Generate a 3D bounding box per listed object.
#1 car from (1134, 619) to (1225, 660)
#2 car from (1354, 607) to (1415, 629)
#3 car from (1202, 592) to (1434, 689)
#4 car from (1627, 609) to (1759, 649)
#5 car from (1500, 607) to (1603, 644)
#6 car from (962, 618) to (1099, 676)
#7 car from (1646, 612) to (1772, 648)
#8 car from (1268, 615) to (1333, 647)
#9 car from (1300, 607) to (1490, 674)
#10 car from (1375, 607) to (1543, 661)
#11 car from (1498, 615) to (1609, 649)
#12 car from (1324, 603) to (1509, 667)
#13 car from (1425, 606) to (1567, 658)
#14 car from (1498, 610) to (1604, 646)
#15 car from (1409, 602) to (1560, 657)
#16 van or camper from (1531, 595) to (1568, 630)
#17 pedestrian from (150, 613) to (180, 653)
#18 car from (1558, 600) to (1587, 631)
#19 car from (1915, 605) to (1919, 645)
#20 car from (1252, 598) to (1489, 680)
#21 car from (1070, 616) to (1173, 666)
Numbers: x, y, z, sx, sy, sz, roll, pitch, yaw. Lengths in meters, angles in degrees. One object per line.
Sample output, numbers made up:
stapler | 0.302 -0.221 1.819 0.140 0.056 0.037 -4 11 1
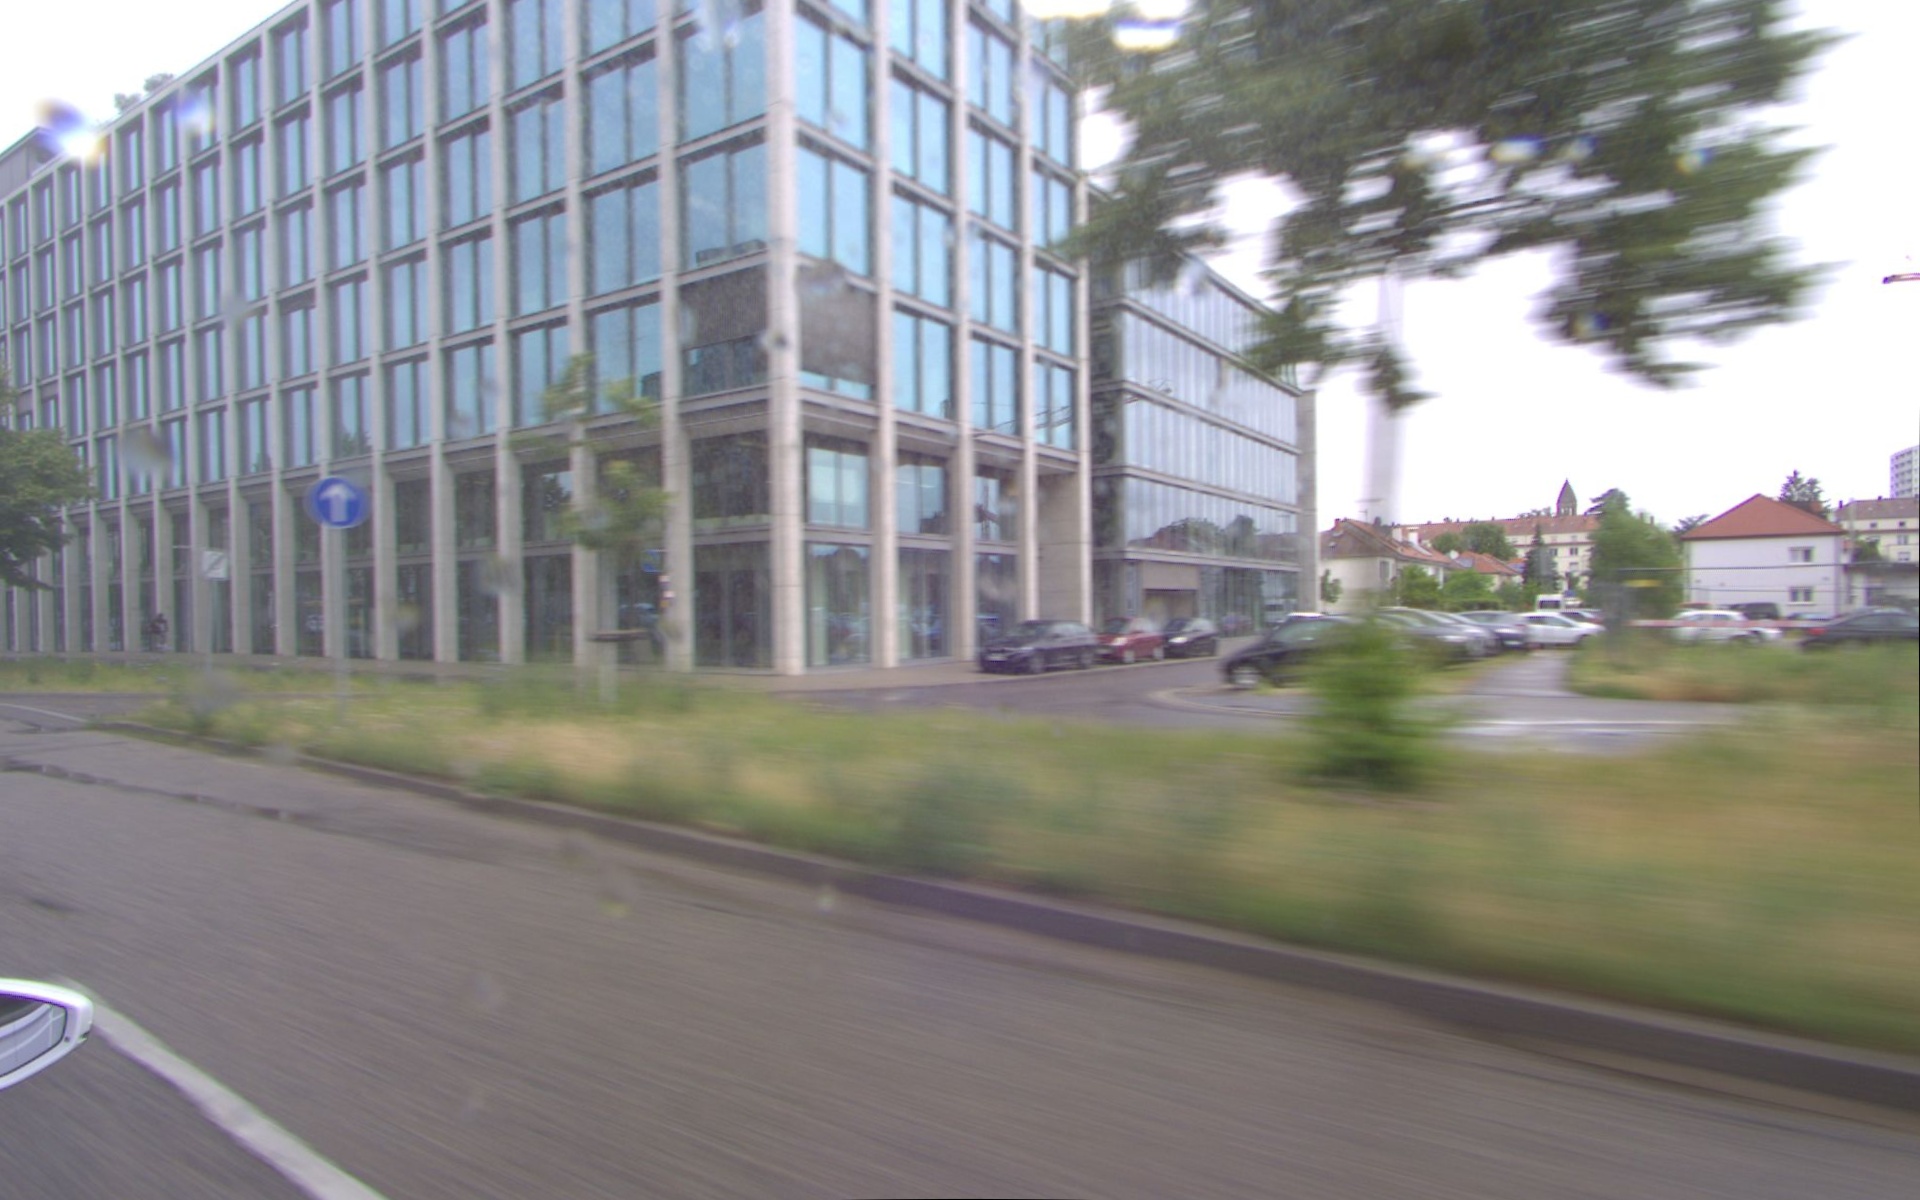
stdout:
car | 8.230 1.431 37.264 1.837 1.390 3.974 1 0 37
car | 31.468 1.338 74.236 3.942 1.603 1.852 -1 -1 32
car | 7.186 0.874 20.292 3.956 1.599 1.848 -7 -5 39
car | 28.122 1.100 38.575 3.975 1.464 1.692 -1 -1 33
car | 27.003 1.149 45.866 3.971 1.622 1.853 -1 -1 30
car | 2.104 1.288 28.703 1.955 1.457 4.204 2 0 37
car | 29.882 1.191 40.105 3.978 1.370 1.691 -1 -1 35
car | 16.379 1.459 48.115 1.837 1.457 3.974 1 0 37
car | 10.750 1.025 24.850 3.951 1.473 1.848 -4 -3 37
car | 14.542 0.965 29.286 4.176 1.494 1.779 -1 -1 37
car | 24.992 1.317 42.278 3.973 1.370 1.693 -1 -1 31
car | 12.496 0.932 27.554 4.359 1.622 1.848 -1 -1 37
car | 17.775 1.050 33.257 3.949 1.622 1.848 -1 -1 37
car | 26.022 1.212 44.235 3.971 1.516 1.853 -1 -1 30
car | 16.427 0.906 31.423 3.949 1.622 1.848 -1 -1 37
van or camper | 45.734 0.970 77.613 2.065 2.618 5.598 -1 -1 35
pedestrian | -34.935 1.450 44.013 0.848 1.738 0.715 0 2 31
car | 57.727 1.485 94.291 2.196 2.817 4.481 -1 -2 34
car | 39.911 0.974 38.761 3.975 1.602 1.692 -1 0 33
car | 9.087 0.906 22.365 4.504 1.472 1.848 -7 -4 37
car | 5.491 1.319 33.659 1.836 1.508 3.975 2 1 35
